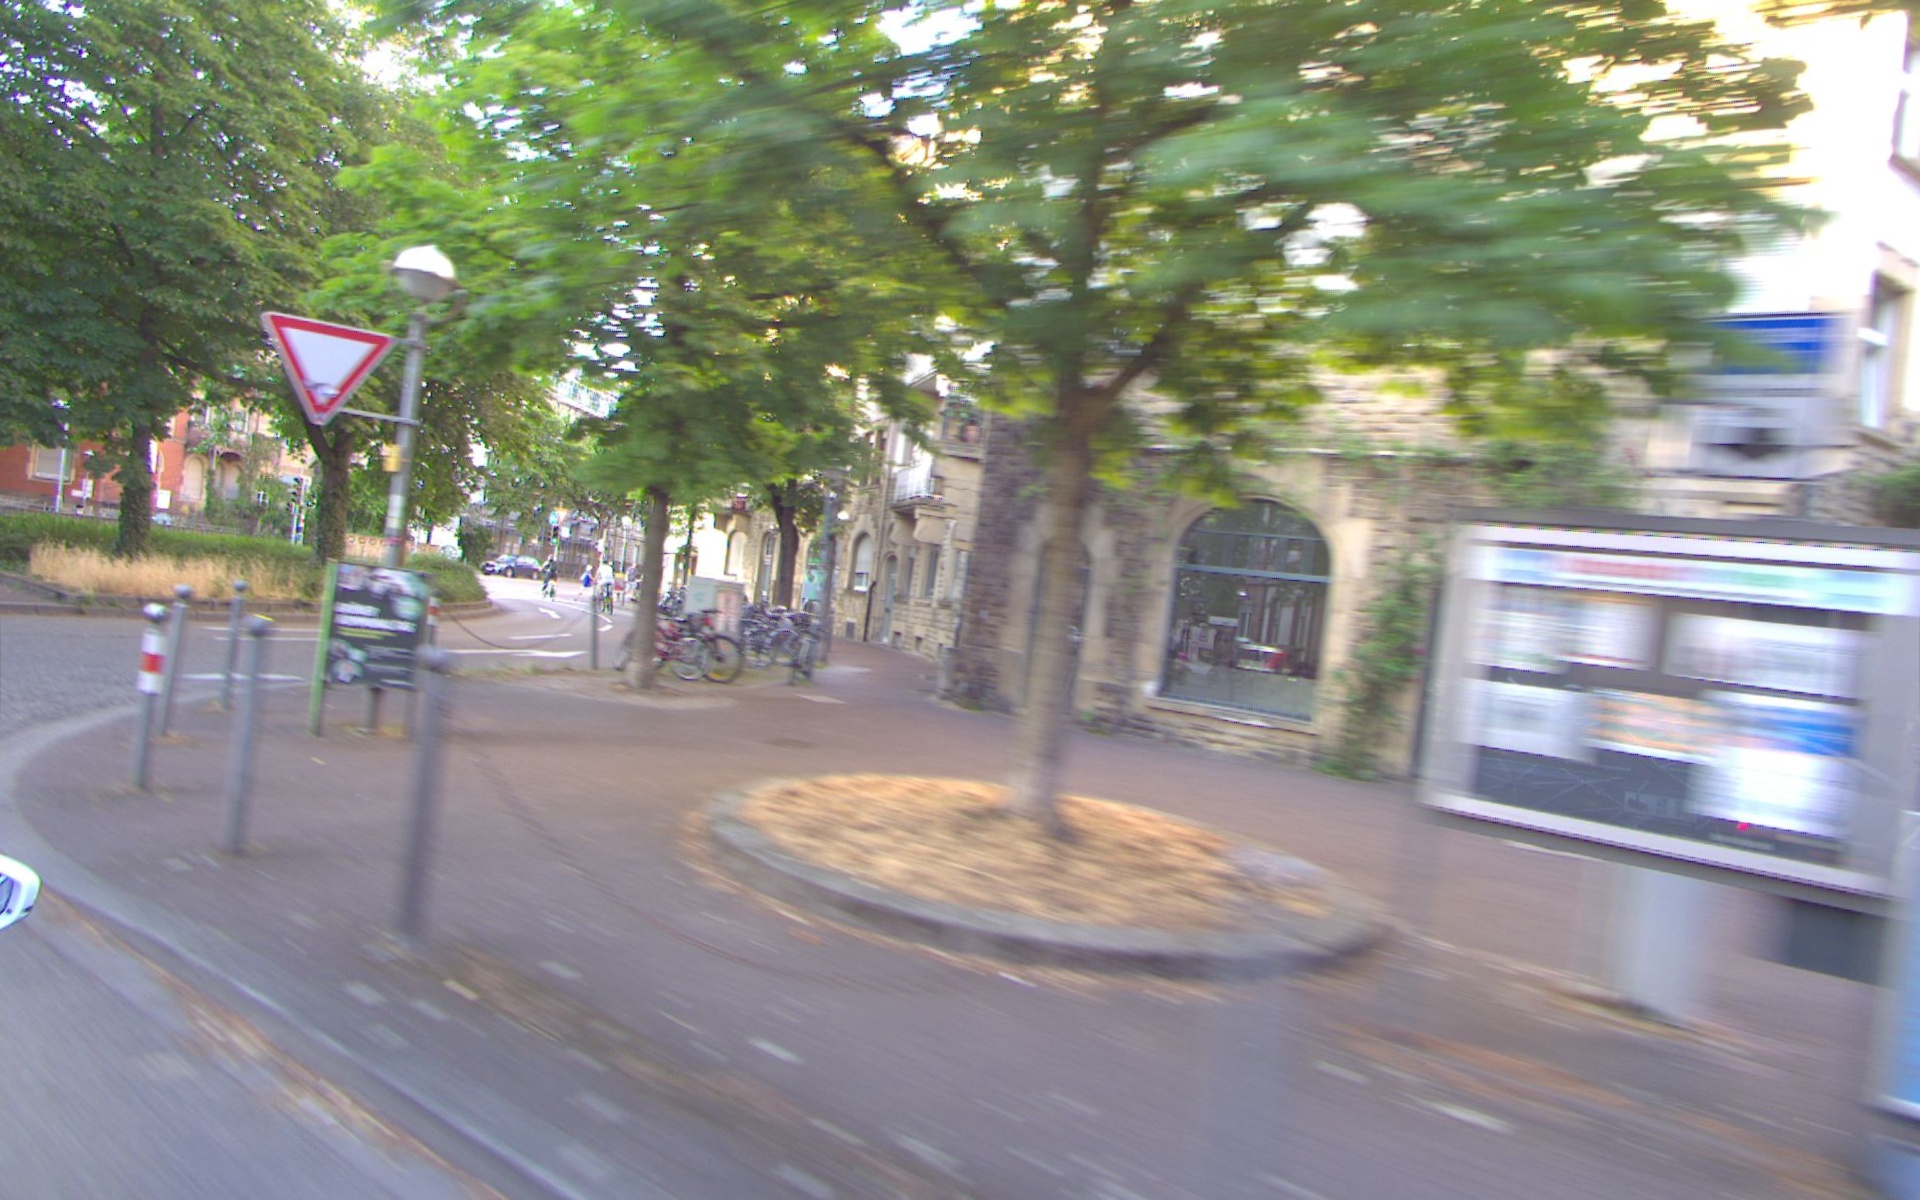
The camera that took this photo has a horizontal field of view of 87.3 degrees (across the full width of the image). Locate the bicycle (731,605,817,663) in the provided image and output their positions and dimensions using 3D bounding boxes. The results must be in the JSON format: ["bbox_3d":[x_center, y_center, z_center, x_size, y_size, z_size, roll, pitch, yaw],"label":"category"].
[{"bbox_3d":[-4.157,0.763,22.522,1.766,1.076,0.447,7,0,-10],"label":"bicycle"}]

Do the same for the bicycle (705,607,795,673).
[{"bbox_3d":[-4.080,0.779,19.648,1.580,1.076,0.418,7,0,-7],"label":"bicycle"}]

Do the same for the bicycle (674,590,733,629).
[{"bbox_3d":[-9.343,0.336,36.651,1.871,1.176,0.635,7,0,-31],"label":"bicycle"}]

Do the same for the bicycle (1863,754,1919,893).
[{"bbox_3d":[9.643,2.176,9.597,1.887,1.202,0.632,7,1,-21],"label":"bicycle"}]

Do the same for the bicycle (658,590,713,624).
[{"bbox_3d":[-10.460,0.274,38.396,1.794,1.051,0.692,8,0,-41],"label":"bicycle"}]

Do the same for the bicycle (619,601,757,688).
[{"bbox_3d":[-4.042,0.653,14.963,1.863,1.052,0.432,7,0,10],"label":"bicycle"}]

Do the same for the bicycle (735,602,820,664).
[{"bbox_3d":[-4.153,0.751,22.934,1.766,1.182,0.447,7,0,-10],"label":"bicycle"}]

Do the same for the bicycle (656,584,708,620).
[{"bbox_3d":[-11.116,0.085,40.263,1.781,1.251,0.643,8,0,-43],"label":"bicycle"}]

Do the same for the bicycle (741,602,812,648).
[{"bbox_3d":[-5.215,0.720,28.619,1.840,1.117,0.568,8,0,-38],"label":"bicycle"}]

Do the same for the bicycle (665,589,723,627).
[{"bbox_3d":[-9.835,0.285,37.206,1.878,1.176,0.633,8,0,-41],"label":"bicycle"}]

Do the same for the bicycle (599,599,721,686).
[{"bbox_3d":[-4.365,0.609,14.641,1.577,1.052,0.432,7,0,10],"label":"bicycle"}]

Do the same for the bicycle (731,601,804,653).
[{"bbox_3d":[-5.289,0.738,27.675,1.826,1.133,0.421,7,-19,-14],"label":"bicycle"}]

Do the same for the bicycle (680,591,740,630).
[{"bbox_3d":[-8.946,0.377,36.009,1.871,1.176,0.699,7,0,-31],"label":"bicycle"}]

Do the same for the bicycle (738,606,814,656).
[{"bbox_3d":[-4.808,0.812,26.235,1.826,1.064,0.418,7,0,-14],"label":"bicycle"}]

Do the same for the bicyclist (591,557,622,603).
[{"bbox_3d":[-11.891,-0.668,33.826,0.692,1.428,0.858,7,0,-28],"label":"bicyclist"}]

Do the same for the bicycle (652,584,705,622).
[{"bbox_3d":[-10.933,0.116,39.102,1.780,1.251,0.692,7,0,-41],"label":"bicycle"}]

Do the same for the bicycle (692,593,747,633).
[{"bbox_3d":[-8.320,0.447,34.800,1.653,1.144,0.483,7,6,-23],"label":"bicycle"}]

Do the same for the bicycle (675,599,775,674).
[{"bbox_3d":[-4.254,0.655,18.292,1.578,1.162,0.555,7,0,-2],"label":"bicycle"}]

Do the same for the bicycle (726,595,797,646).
[{"bbox_3d":[-5.715,0.605,28.982,1.855,1.228,0.492,7,-6,-14],"label":"bicycle"}]

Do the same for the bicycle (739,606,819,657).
[{"bbox_3d":[-4.648,0.803,25.776,1.890,1.074,0.534,7,0,-13],"label":"bicycle"}]

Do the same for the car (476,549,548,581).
[{"bbox_3d":[-29.684,-2.294,66.799,1.913,1.528,4.423,7,-1,13],"label":"car"}]

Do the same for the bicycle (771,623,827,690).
[{"bbox_3d":[-2.580,0.887,16.301,0.424,0.981,1.727,7,-1,3],"label":"bicycle"}]

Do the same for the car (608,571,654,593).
[{"bbox_3d":[-29.428,-1.581,90.135,1.972,1.444,4.636,7,-1,9],"label":"car"}]

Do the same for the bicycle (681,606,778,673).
[{"bbox_3d":[-4.282,0.733,18.735,1.578,1.033,0.555,7,0,-2],"label":"bicycle"}]

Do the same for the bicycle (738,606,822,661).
[{"bbox_3d":[-4.365,0.806,24.387,1.890,1.078,0.551,7,0,-13],"label":"bicycle"}]

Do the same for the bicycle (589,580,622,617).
[{"bbox_3d":[-11.890,-0.057,33.701,0.692,1.067,1.780,7,0,-28],"label":"bicycle"}]

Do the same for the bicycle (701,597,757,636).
[{"bbox_3d":[-7.721,0.548,33.595,1.658,1.091,0.482,7,0,-32],"label":"bicycle"}]

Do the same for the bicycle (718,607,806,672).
[{"bbox_3d":[-3.935,0.780,20.045,1.580,1.089,0.418,7,0,-7],"label":"bicycle"}]

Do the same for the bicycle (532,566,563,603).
[{"bbox_3d":[-15.772,-0.604,38.443,0.692,1.252,1.847,7,0,-32],"label":"bicycle"}]

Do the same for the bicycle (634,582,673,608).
[{"bbox_3d":[-16.790,-0.267,55.042,1.856,1.144,0.727,7,0,-27],"label":"bicycle"}]

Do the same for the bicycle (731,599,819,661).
[{"bbox_3d":[-4.348,0.697,23.641,1.890,1.215,0.551,7,0,-13],"label":"bicycle"}]

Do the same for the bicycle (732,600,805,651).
[{"bbox_3d":[-5.214,0.696,27.426,1.826,1.095,0.421,7,-19,-14],"label":"bicycle"}]

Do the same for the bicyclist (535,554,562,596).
[{"bbox_3d":[-15.726,-0.953,38.434,0.693,1.479,0.777,7,0,-32],"label":"bicyclist"}]

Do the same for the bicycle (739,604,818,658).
[{"bbox_3d":[-4.544,0.782,25.243,1.824,1.130,0.418,7,0,-10],"label":"bicycle"}]

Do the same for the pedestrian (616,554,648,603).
[{"bbox_3d":[-15.116,-0.986,46.345,1.002,2.112,1.053,6,1,-28],"label":"pedestrian"}]

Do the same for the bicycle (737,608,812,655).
[{"bbox_3d":[-4.885,0.833,26.517,1.826,1.012,0.418,7,0,-14],"label":"bicycle"}]

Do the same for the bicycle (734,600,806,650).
[{"bbox_3d":[-5.293,0.691,28.060,1.826,1.158,0.418,7,0,-14],"label":"bicycle"}]

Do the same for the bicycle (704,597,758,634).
[{"bbox_3d":[-7.878,0.534,34.683,1.654,1.091,0.483,7,0,-25],"label":"bicycle"}]

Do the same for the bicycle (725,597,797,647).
[{"bbox_3d":[-5.796,0.647,29.397,1.864,1.154,0.488,9,3,-28],"label":"bicycle"}]

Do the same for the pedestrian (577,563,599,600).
[{"bbox_3d":[-19.210,-0.951,51.934,0.857,1.817,0.920,7,1,-19],"label":"pedestrian"}]

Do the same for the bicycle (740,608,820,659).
[{"bbox_3d":[-4.456,0.828,24.931,1.824,1.026,0.418,7,0,-10],"label":"bicycle"}]
